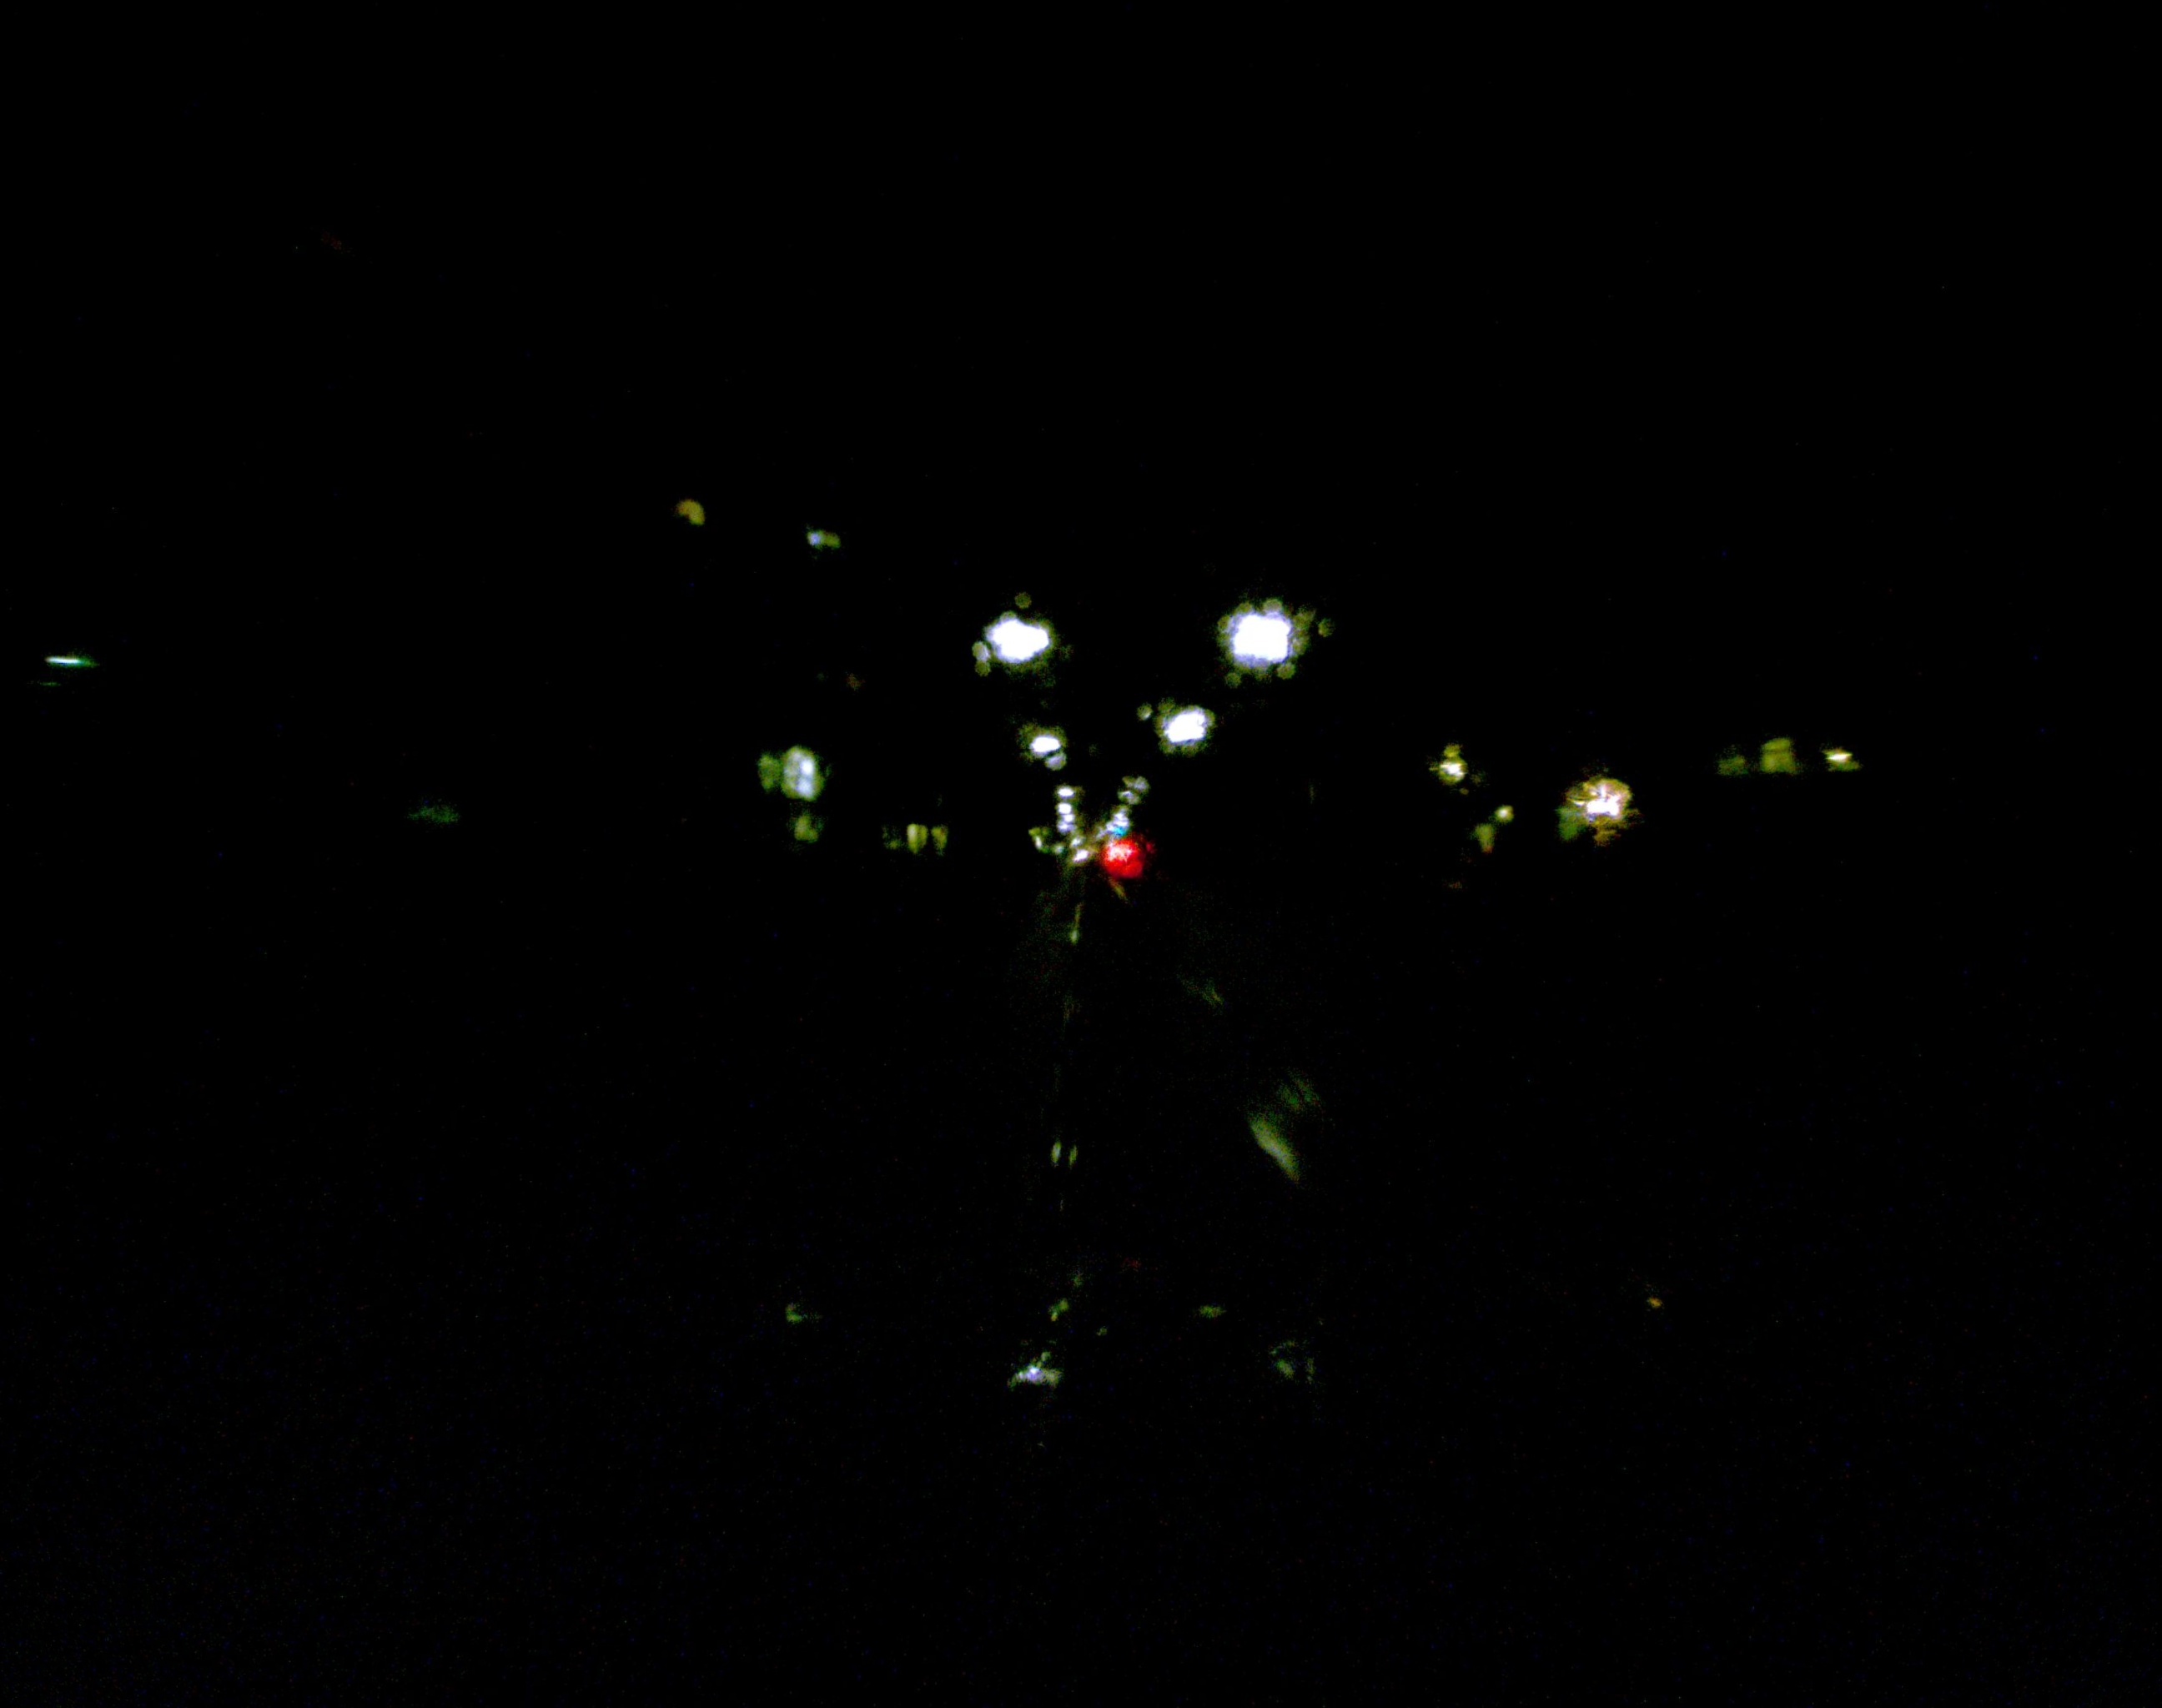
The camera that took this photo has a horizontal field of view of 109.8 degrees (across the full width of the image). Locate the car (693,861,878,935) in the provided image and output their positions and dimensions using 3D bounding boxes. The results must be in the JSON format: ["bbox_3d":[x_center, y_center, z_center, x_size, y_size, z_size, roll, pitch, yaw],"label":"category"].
[{"bbox_3d":[-6.636,0.914,17.213,3.579,1.463,1.649,-1,0,-37],"label":"car"}]

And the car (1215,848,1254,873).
[{"bbox_3d":[9.750,0.374,48.557,1.720,1.399,3.389,-4,1,-1],"label":"car"}]

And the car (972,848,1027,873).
[{"bbox_3d":[-6.358,0.476,59.491,3.965,1.761,1.666,-3,1,-37],"label":"car"}]

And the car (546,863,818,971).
[{"bbox_3d":[-7.000,0.991,13.619,1.707,1.503,3.914,-1,1,44],"label":"car"}]

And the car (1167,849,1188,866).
[{"bbox_3d":[9.916,0.344,78.205,1.693,1.566,3.917,-2,1,1],"label":"car"}]

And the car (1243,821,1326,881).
[{"bbox_3d":[9.561,-0.155,36.244,2.248,2.494,5.258,-4,1,-2],"label":"car"}]

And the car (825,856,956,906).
[{"bbox_3d":[-6.651,0.915,26.845,1.658,1.473,4.194,-3,0,42],"label":"car"}]

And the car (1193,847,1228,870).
[{"bbox_3d":[9.717,0.306,57.151,1.846,1.573,3.663,-4,1,-1],"label":"car"}]

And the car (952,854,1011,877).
[{"bbox_3d":[-7.390,0.829,56.290,3.963,1.499,1.617,-2,1,-26],"label":"car"}]

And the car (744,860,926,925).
[{"bbox_3d":[-6.554,0.952,20.498,4.264,1.409,1.780,-3,1,-41],"label":"car"}]

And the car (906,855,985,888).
[{"bbox_3d":[-7.027,0.888,39.646,1.712,1.519,3.675,-1,1,45],"label":"car"}]

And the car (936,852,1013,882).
[{"bbox_3d":[-6.112,0.720,43.891,4.021,1.519,1.796,-3,1,-42],"label":"car"}]

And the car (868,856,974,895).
[{"bbox_3d":[-6.856,0.895,32.873,4.170,1.437,1.651,-3,1,-42],"label":"car"}]

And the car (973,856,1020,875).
[{"bbox_3d":[-5.924,0.809,53.557,1.503,1.216,2.950,-1,1,43],"label":"car"}]
